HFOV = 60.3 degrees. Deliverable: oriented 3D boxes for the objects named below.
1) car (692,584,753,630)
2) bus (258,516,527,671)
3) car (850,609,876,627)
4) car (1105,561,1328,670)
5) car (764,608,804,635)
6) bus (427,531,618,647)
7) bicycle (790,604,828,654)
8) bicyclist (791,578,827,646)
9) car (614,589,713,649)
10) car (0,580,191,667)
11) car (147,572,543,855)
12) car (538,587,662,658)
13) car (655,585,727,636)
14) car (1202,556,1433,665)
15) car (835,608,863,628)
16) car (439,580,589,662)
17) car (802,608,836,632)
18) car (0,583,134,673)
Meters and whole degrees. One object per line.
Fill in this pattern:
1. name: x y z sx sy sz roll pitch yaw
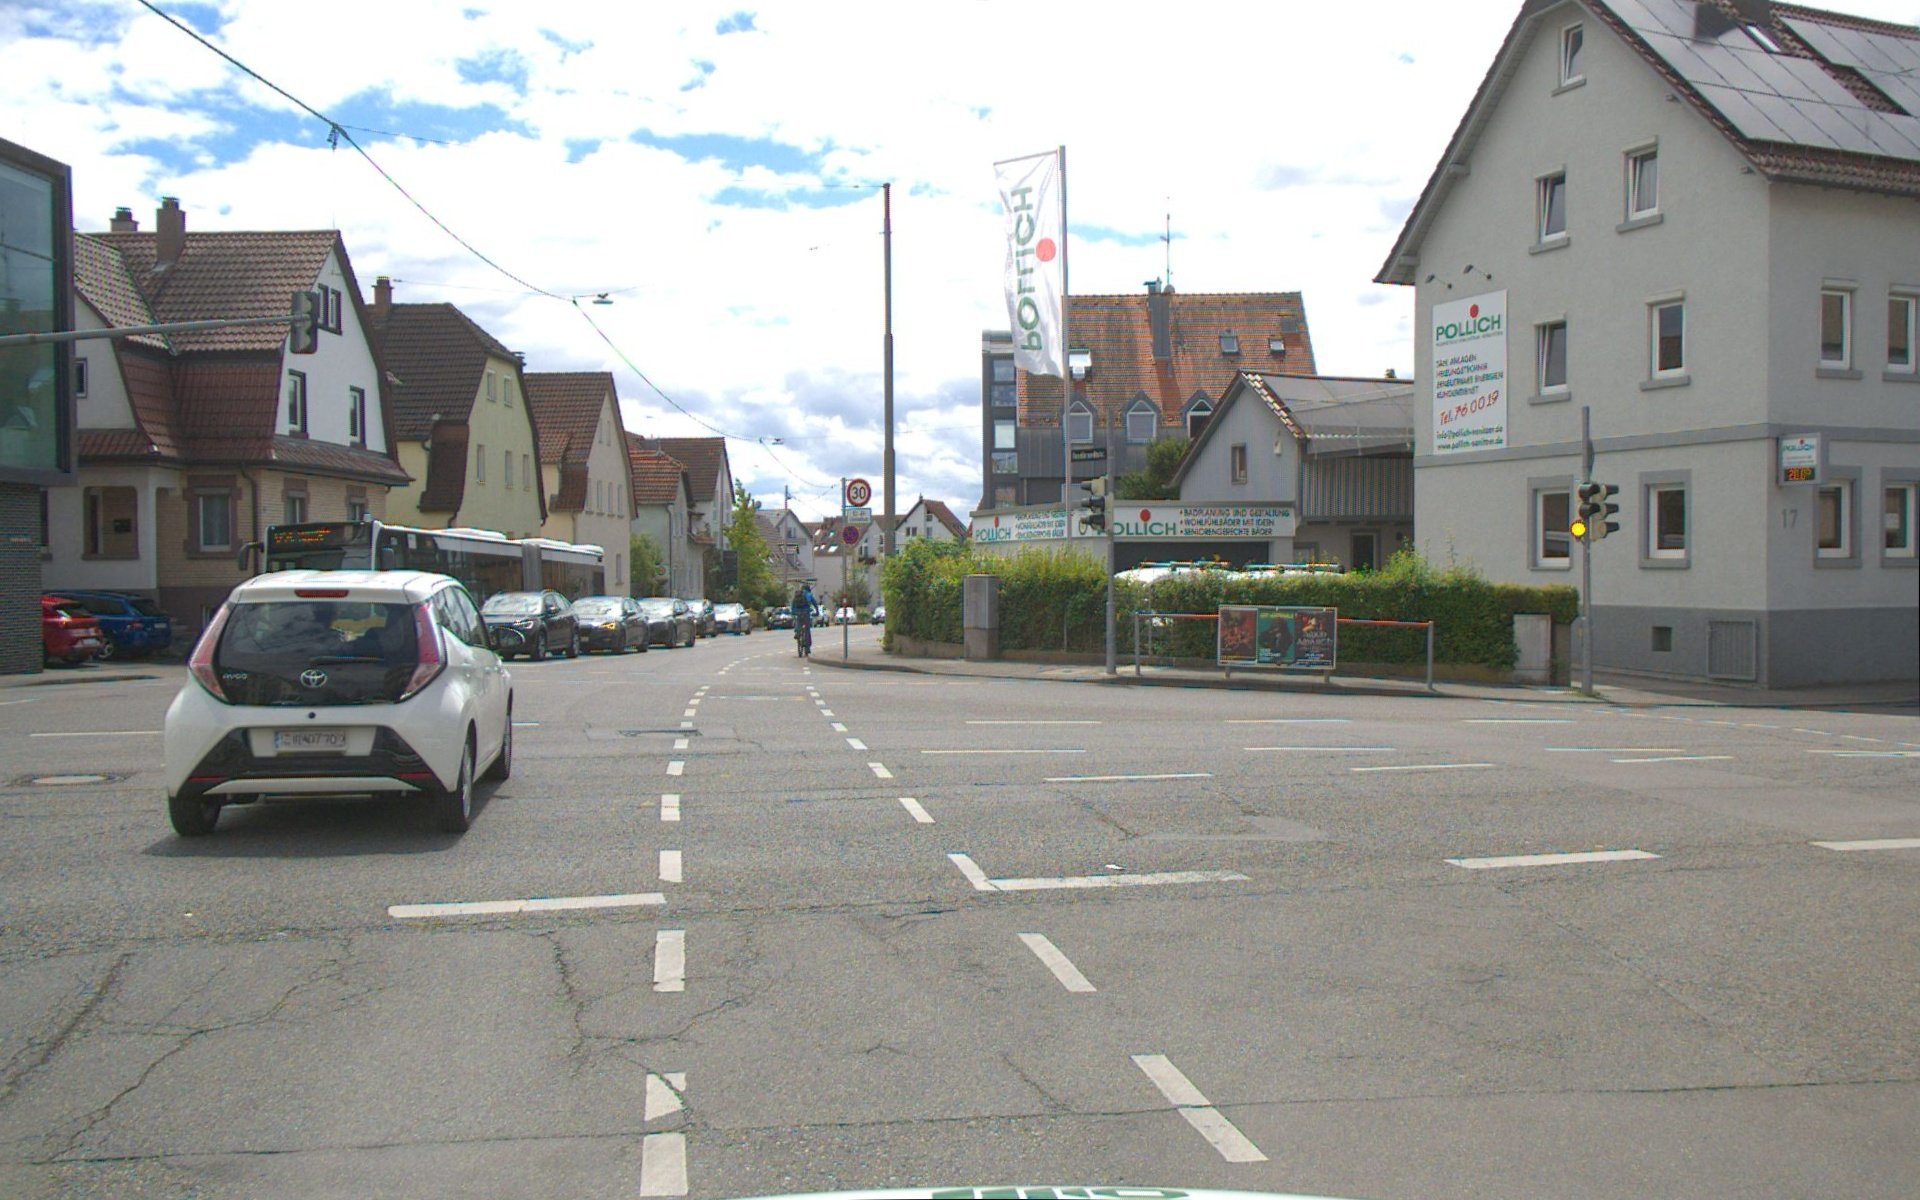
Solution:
1. car: -10.938 0.310 76.433 1.951 2.049 4.002 1 0 4
2. bus: -12.688 -0.161 38.070 2.720 3.113 9.194 1 0 2
3. car: -9.144 1.684 156.763 1.952 1.668 4.002 1 0 4
4. car: 5.057 0.289 32.683 3.931 2.049 1.987 0 0 -22
5. car: -11.560 1.405 108.844 1.952 1.668 4.002 1 0 4
6. bus: -12.286 -0.315 47.389 2.720 2.965 9.194 1 0 2
7. bicycle: -3.734 0.700 40.765 0.816 1.184 2.187 0 0 -8
8. bicyclist: -3.731 0.293 40.764 0.825 1.642 1.081 0 0 -9
9. car: -8.649 0.515 48.588 1.952 1.668 4.002 1 0 4
10. car: -20.100 0.513 37.898 3.906 1.713 2.000 3 0 0
11. car: -3.703 0.584 10.561 1.706 1.486 3.524 0 0 -9
12. car: -8.978 0.518 41.601 1.952 1.668 4.185 1 0 4
13. car: -11.311 0.410 69.805 1.951 2.049 4.003 0 0 6
14. car: 6.825 0.198 31.652 3.933 1.982 1.986 0 0 -23
15. car: -9.868 1.623 147.206 1.952 1.668 4.002 1 0 4
16. car: -9.636 0.413 36.093 1.952 1.668 4.002 1 0 4
17. car: -10.508 1.483 123.804 1.952 1.668 4.002 1 0 4
18. car: -20.135 0.542 35.279 3.906 1.668 2.000 4 0 0
